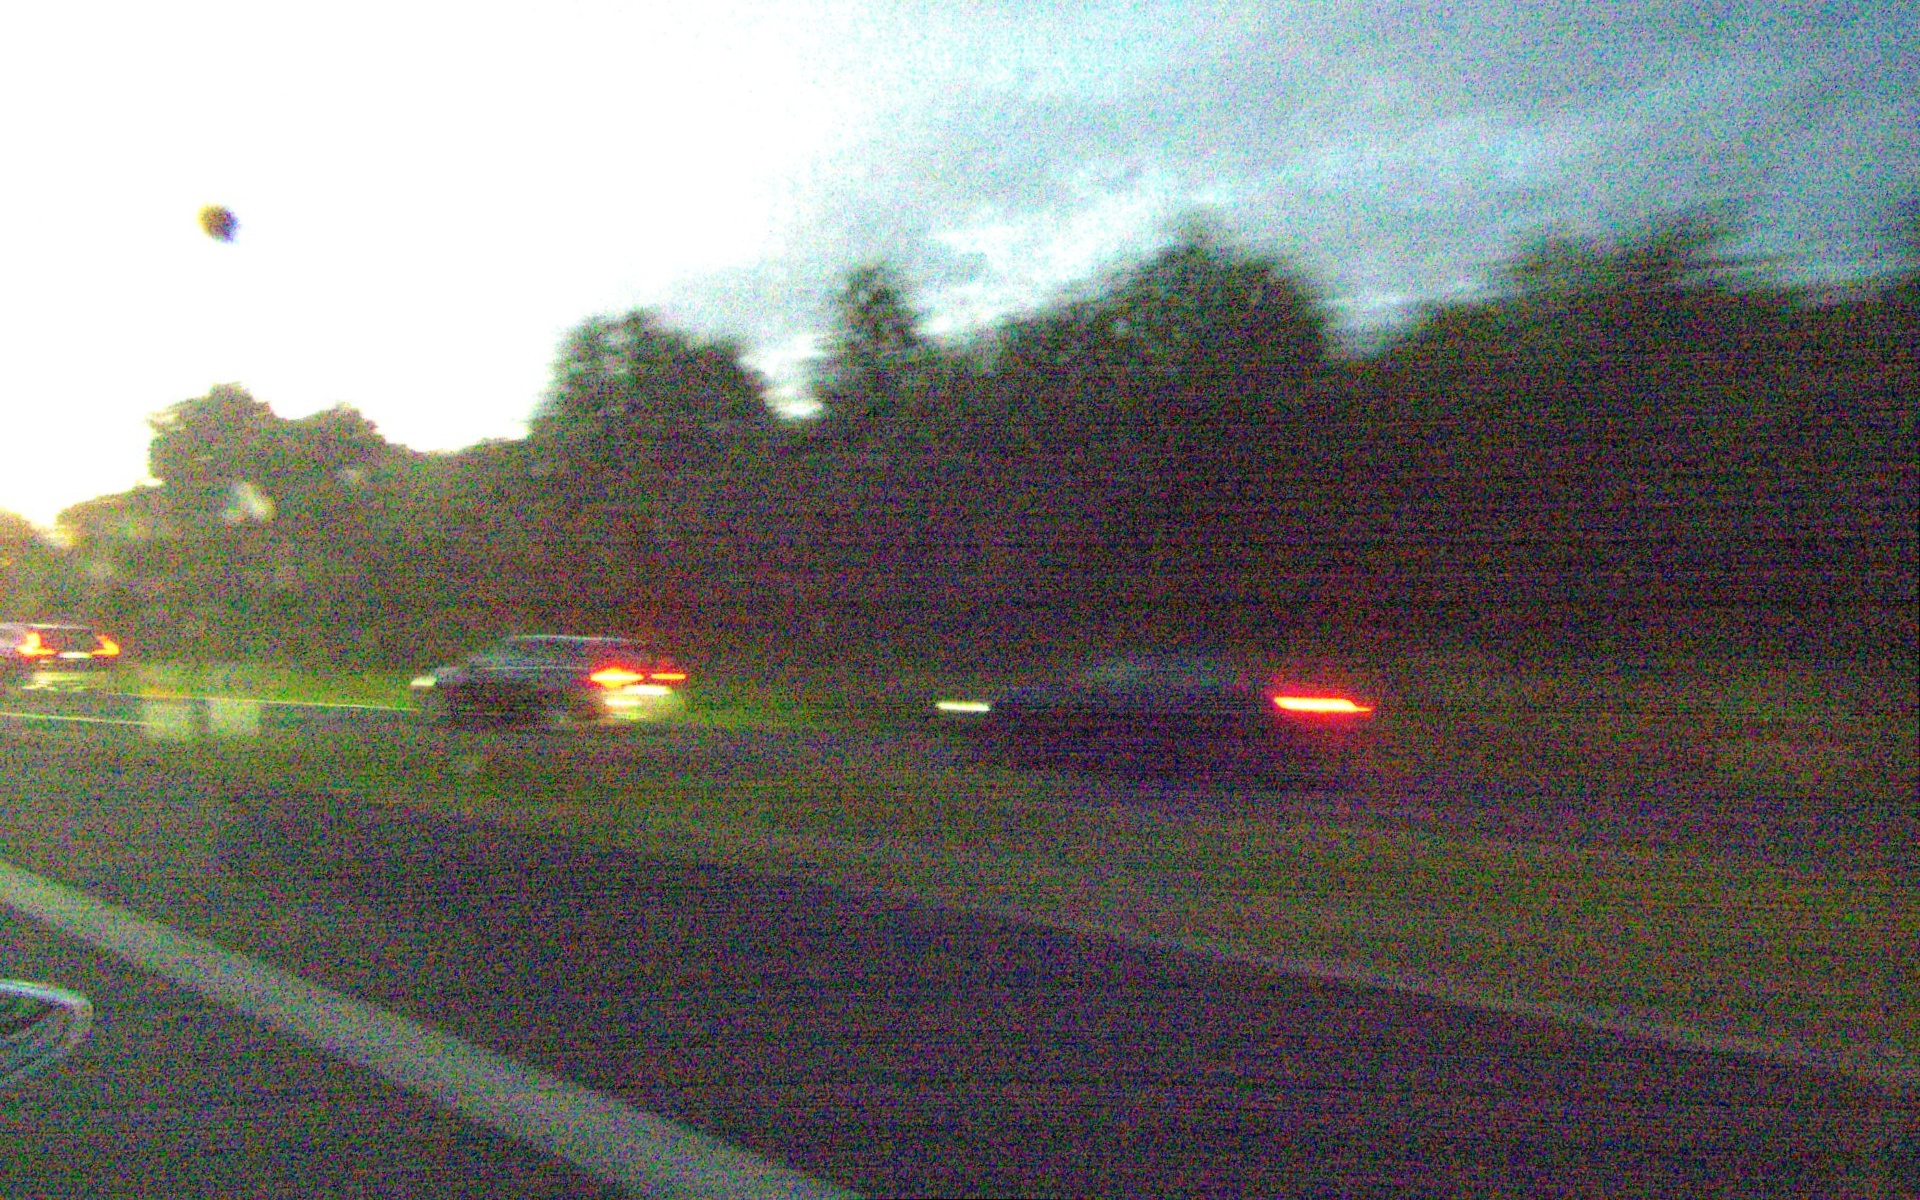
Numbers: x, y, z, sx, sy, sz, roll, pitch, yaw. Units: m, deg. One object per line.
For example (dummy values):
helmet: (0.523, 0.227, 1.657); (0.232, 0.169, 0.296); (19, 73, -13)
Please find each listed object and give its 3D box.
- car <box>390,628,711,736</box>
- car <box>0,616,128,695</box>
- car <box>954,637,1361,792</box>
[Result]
car: (-6.573, 1.243, 15.977); (5.034, 1.509, 1.800); (-1, -4, 26)
car: (-21.639, 1.255, 23.187); (5.079, 1.665, 1.798); (-1, -3, 27)
car: (2.284, 1.233, 11.677); (4.364, 1.510, 1.800); (-1, -4, 26)
